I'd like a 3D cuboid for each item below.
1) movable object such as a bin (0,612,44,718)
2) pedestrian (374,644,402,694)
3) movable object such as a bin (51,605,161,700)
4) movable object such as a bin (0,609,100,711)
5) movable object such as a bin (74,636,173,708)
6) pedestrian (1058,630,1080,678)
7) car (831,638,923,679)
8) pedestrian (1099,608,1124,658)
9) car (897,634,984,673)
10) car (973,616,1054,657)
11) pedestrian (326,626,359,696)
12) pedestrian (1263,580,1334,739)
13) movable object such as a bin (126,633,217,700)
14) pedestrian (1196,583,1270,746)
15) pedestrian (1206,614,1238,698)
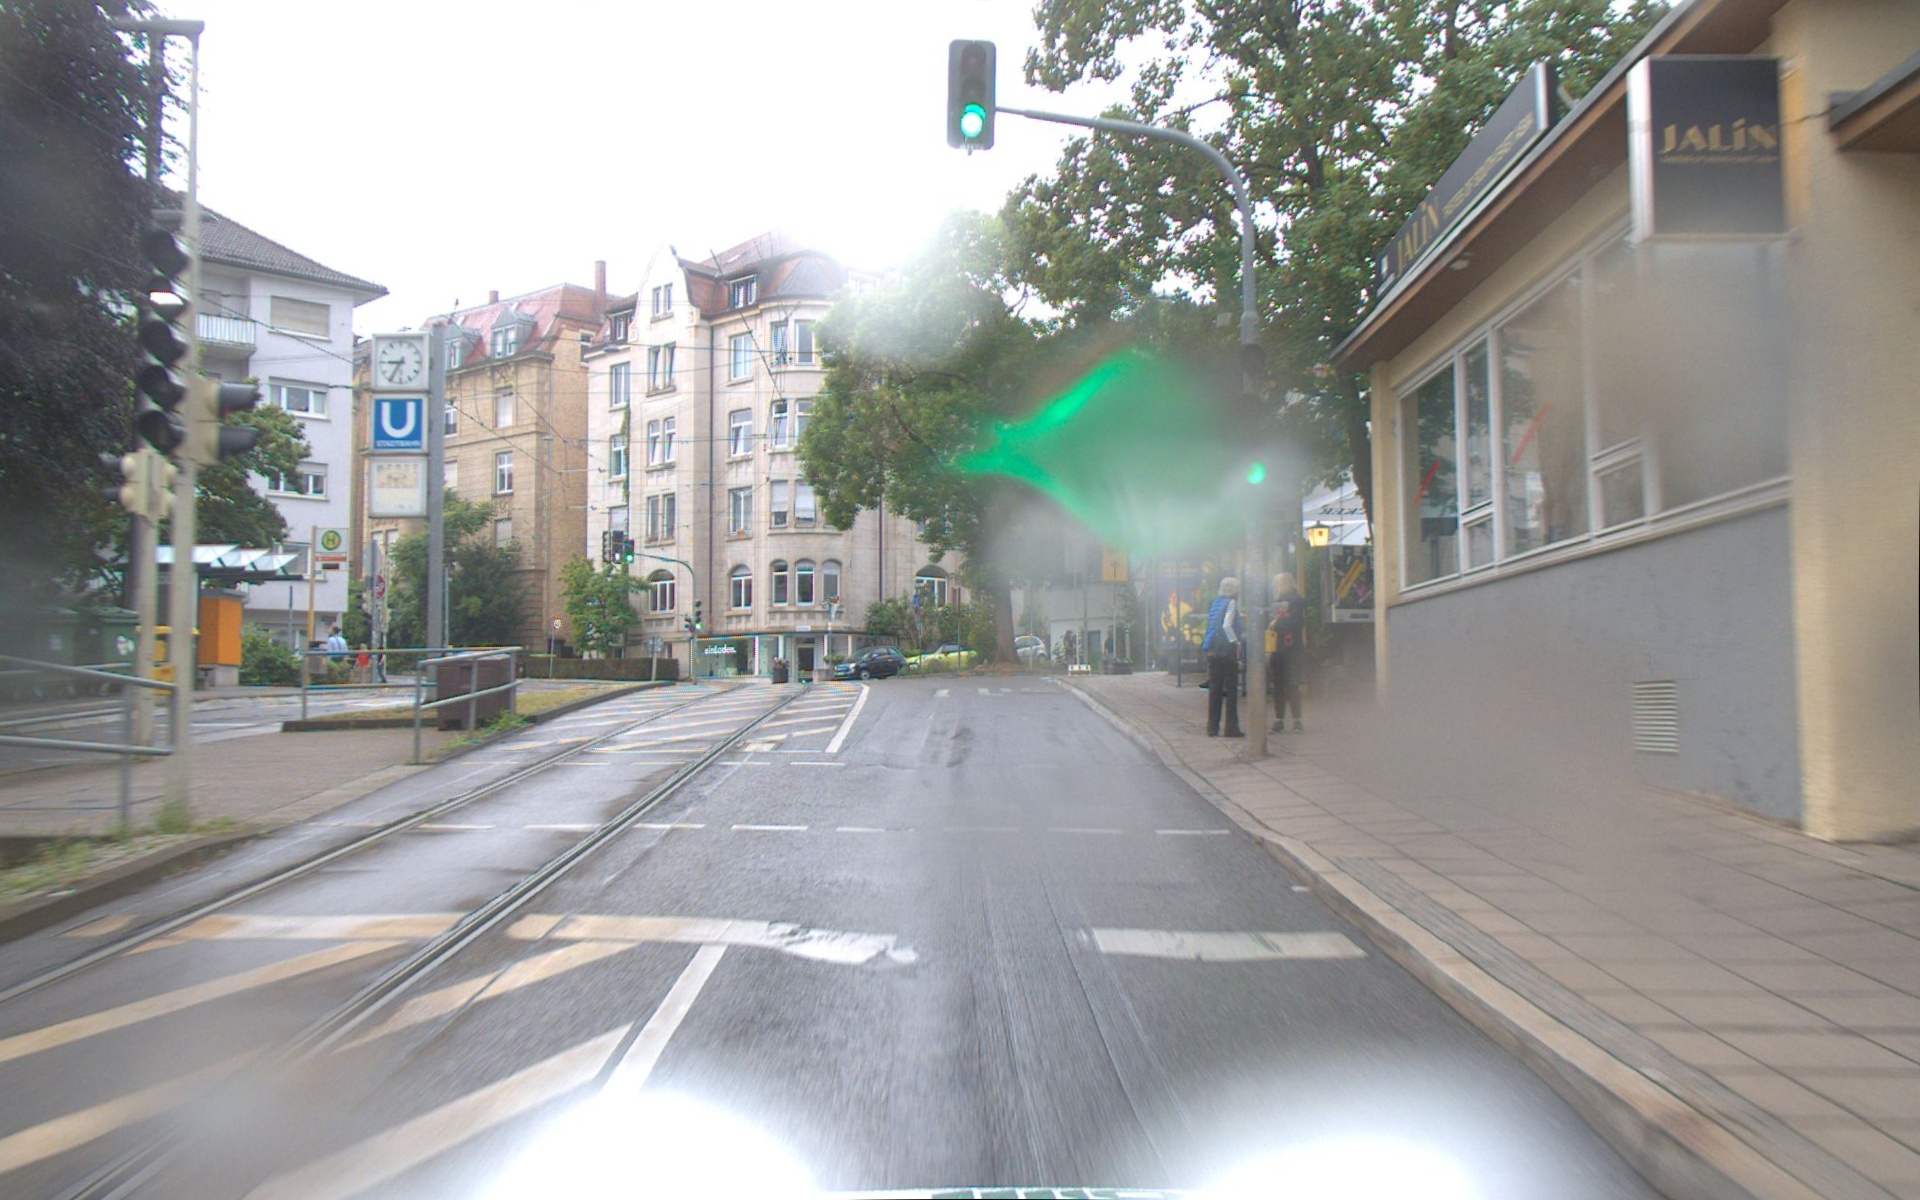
[{"bbox_3d":[-13.926,0.915,23.513,1.000,1.459,1.356,1,1,2],"label":"movable object such as a bin"},{"bbox_3d":[-20.700,2.490,59.890,0.662,1.729,0.740,2,1,45],"label":"pedestrian"},{"bbox_3d":[-13.874,0.837,26.921,1.000,1.459,1.428,1,1,2],"label":"movable object such as a bin"},{"bbox_3d":[-13.963,0.886,25.121,1.000,1.459,1.445,1,1,2],"label":"movable object such as a bin"},{"bbox_3d":[-14.495,1.237,28.690,1.000,1.158,1.343,1,1,2],"label":"movable object such as a bin"},{"bbox_3d":[3.739,1.848,56.766,0.589,1.593,0.544,1,0,-10],"label":"pedestrian"},{"bbox_3d":[-3.539,2.494,70.602,3.640,1.534,1.711,-2,0,-42],"label":"car"},{"bbox_3d":[5.103,1.102,55.715,0.539,1.658,0.595,1,1,-33],"label":"pedestrian"},{"bbox_3d":[-0.837,2.389,73.764,3.640,1.534,1.711,-2,0,-42],"label":"car"},{"bbox_3d":[2.520,1.686,76.932,1.596,1.534,3.749,-6,-1,43],"label":"car"},{"bbox_3d":[-15.557,1.530,41.679,0.557,1.713,0.774,-2,-1,-8],"label":"pedestrian"},{"bbox_3d":[3.480,0.600,17.026,0.534,1.581,0.558,-2,1,-3],"label":"pedestrian"},{"bbox_3d":[-14.581,1.221,30.632,1.000,1.158,1.343,1,1,2],"label":"movable object such as a bin"},{"bbox_3d":[2.742,0.633,16.658,0.576,1.581,0.650,-2,1,-1],"label":"pedestrian"},{"bbox_3d":[3.743,0.792,23.641,0.318,1.170,0.317,-3,1,-4],"label":"pedestrian"}]
